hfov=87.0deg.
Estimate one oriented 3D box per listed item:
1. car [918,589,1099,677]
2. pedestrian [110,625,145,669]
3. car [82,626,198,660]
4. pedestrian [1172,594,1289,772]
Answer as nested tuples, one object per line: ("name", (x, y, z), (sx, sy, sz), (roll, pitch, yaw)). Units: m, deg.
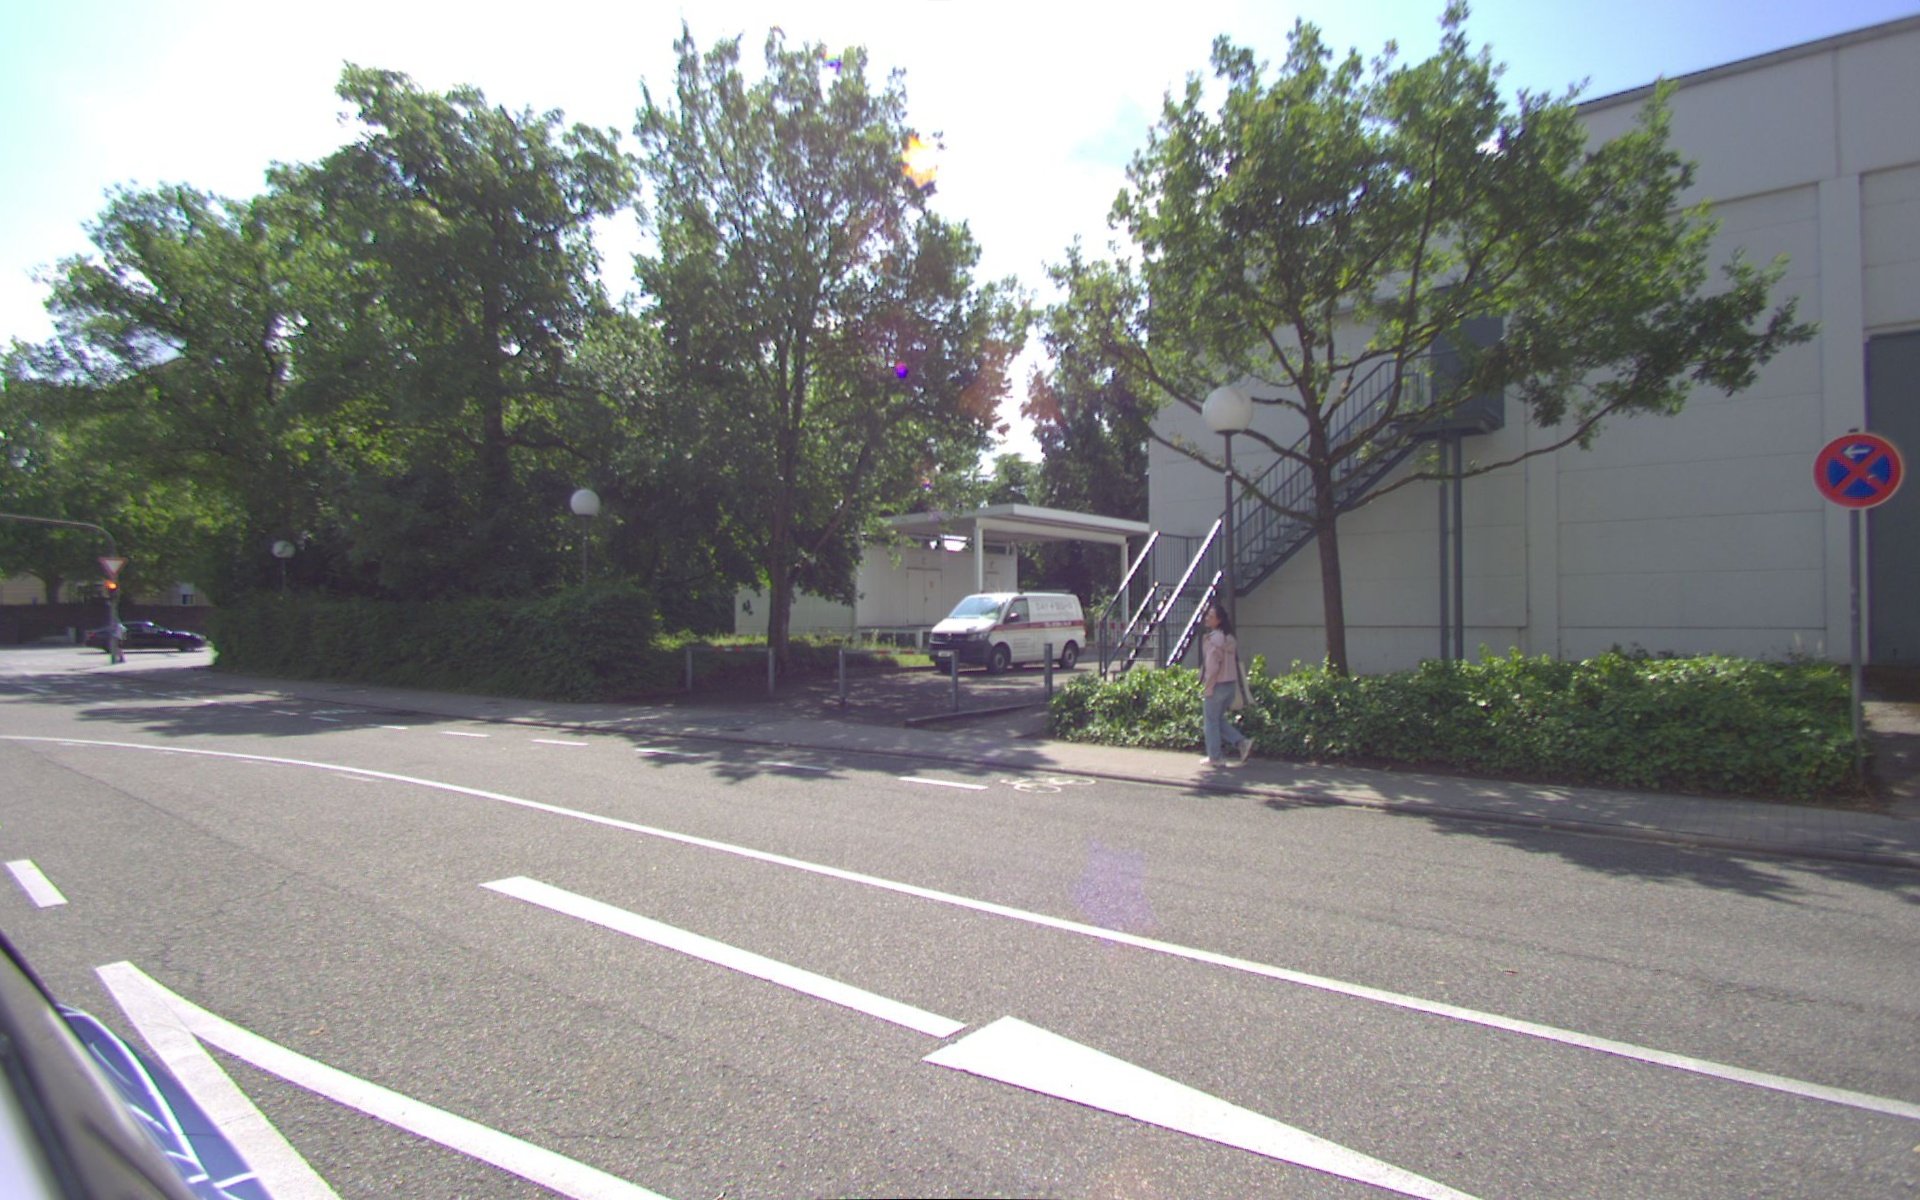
("car", (1.326, 0.771, 25.571), (1.999, 2.001, 4.869), (0, -1, 41))
("pedestrian", (-32.905, 1.849, 40.001), (0.854, 1.714, 0.918), (-3, -3, 42))
("car", (-38.396, 1.988, 47.442), (4.128, 1.426, 1.832), (0, -1, -44))
("pedestrian", (2.645, 0.778, 9.887), (0.882, 1.639, 0.706), (-1, -1, 38))
